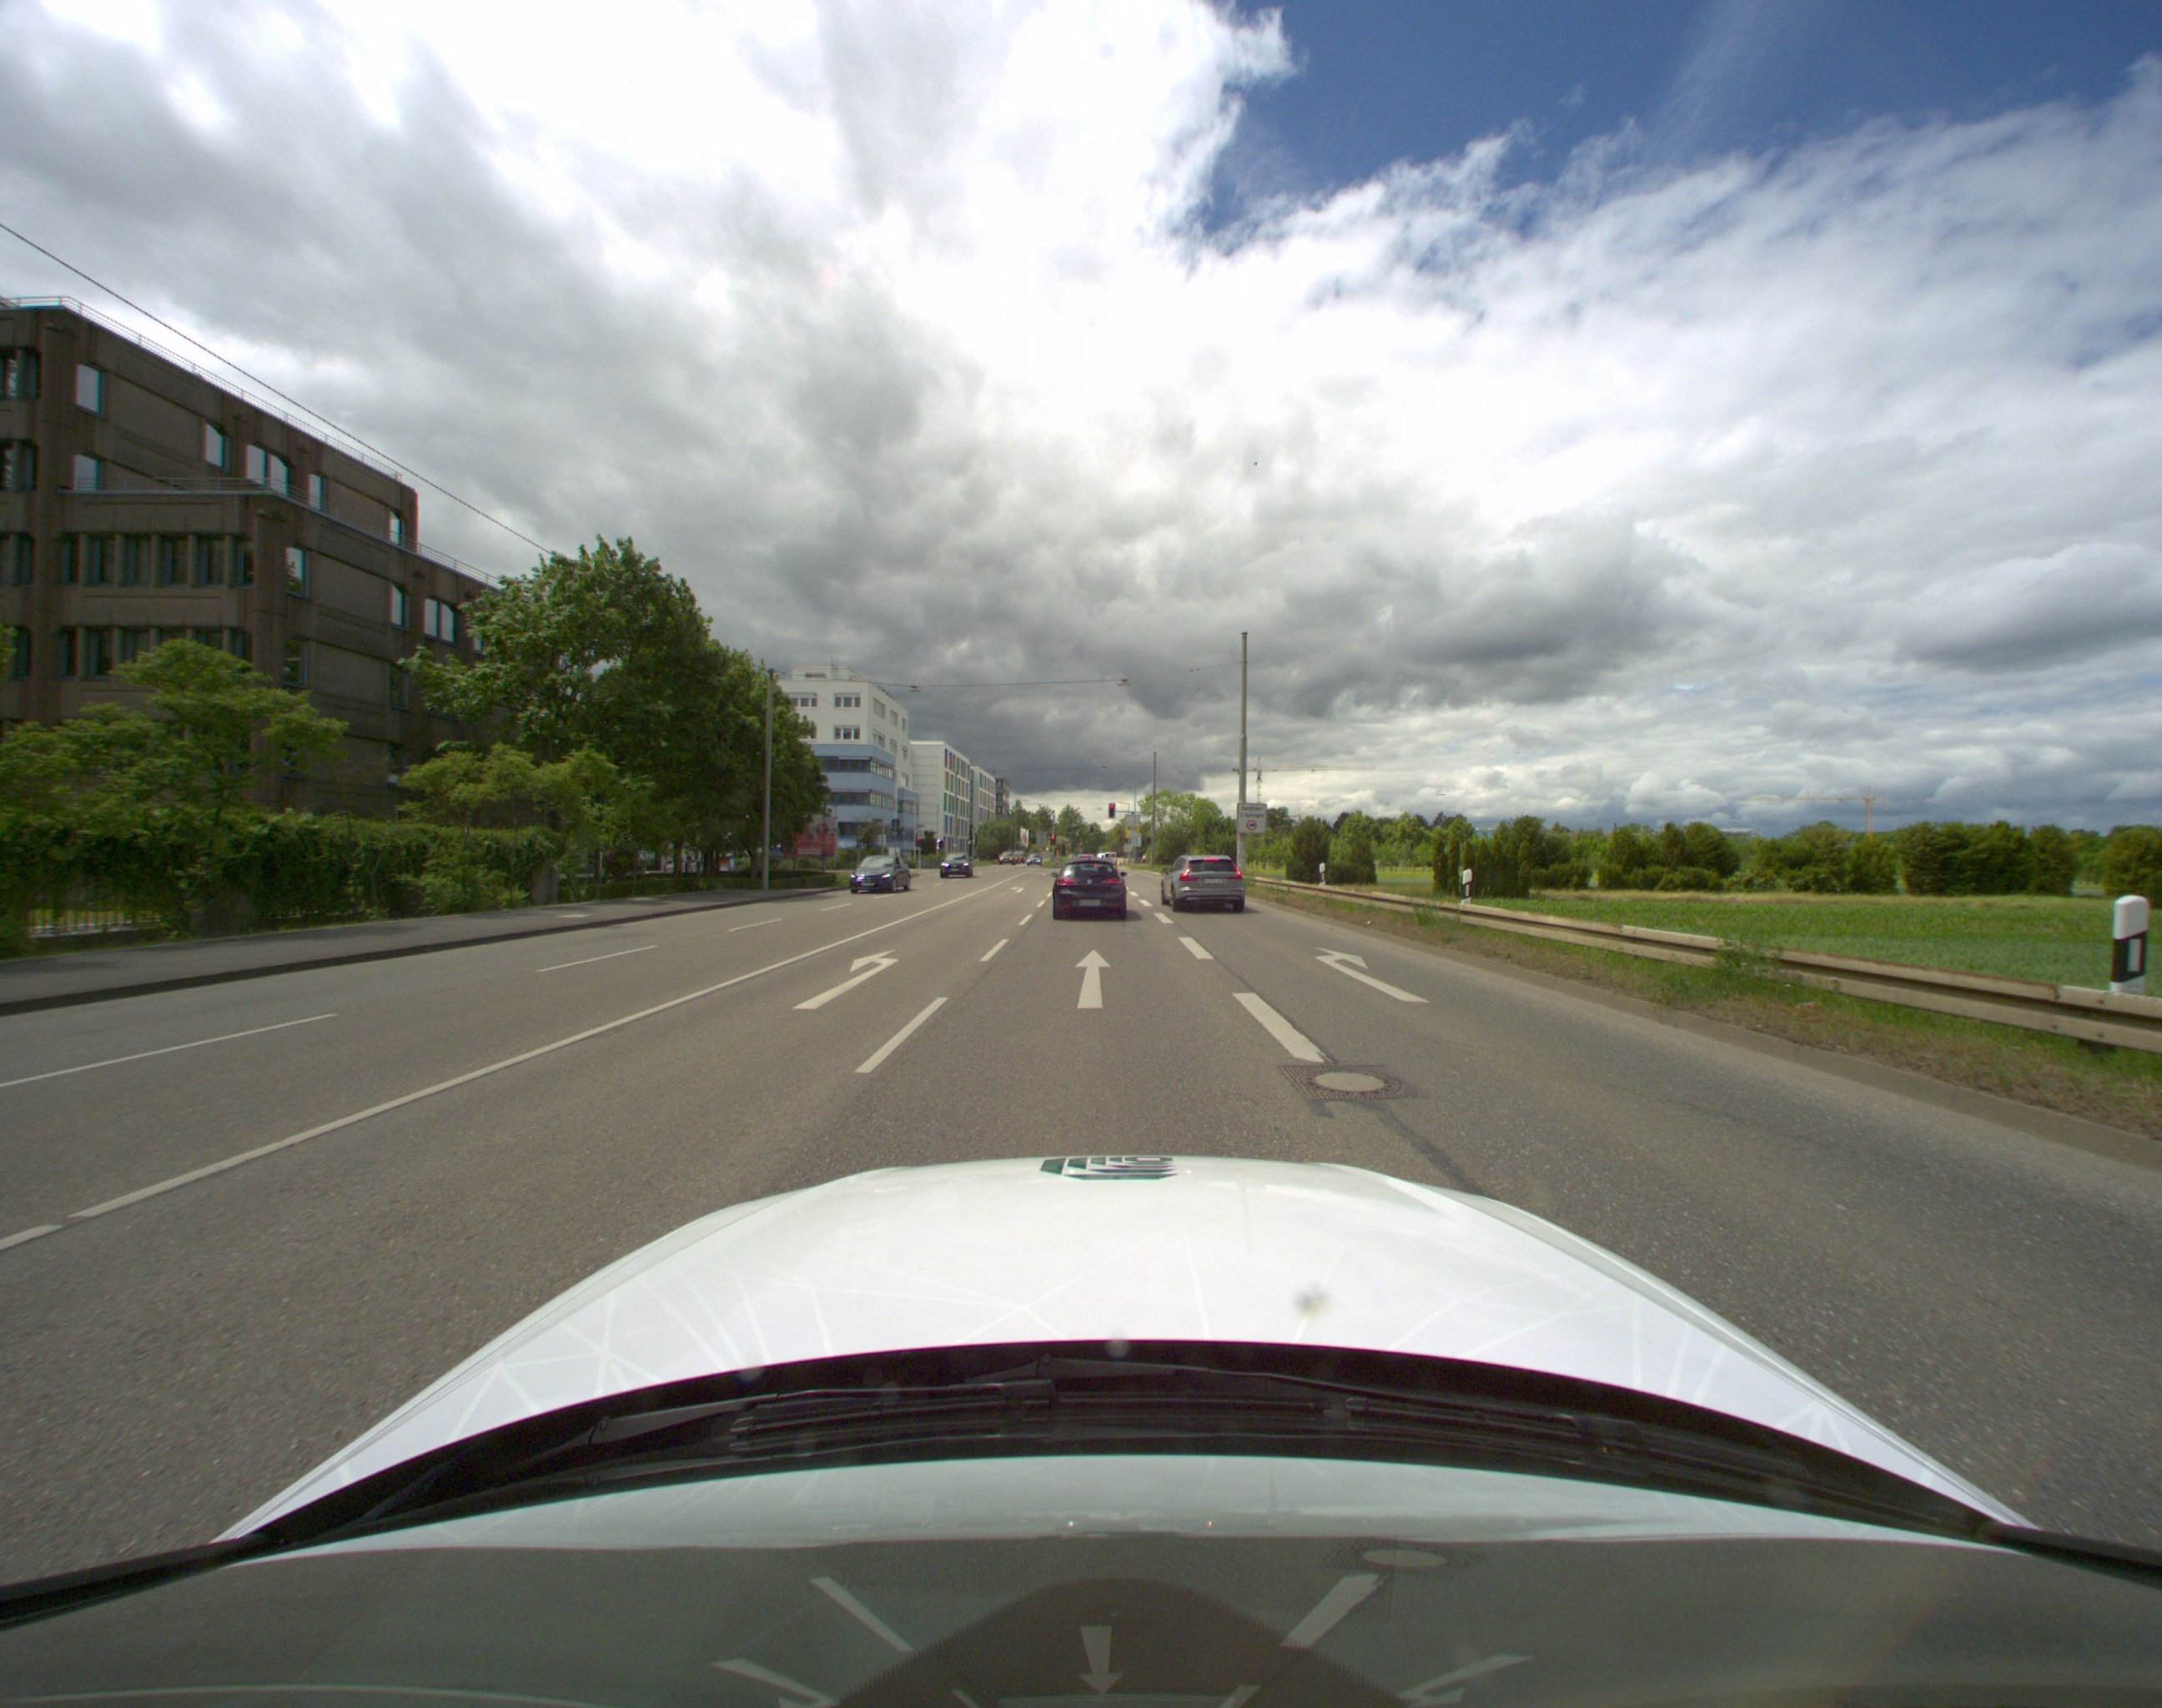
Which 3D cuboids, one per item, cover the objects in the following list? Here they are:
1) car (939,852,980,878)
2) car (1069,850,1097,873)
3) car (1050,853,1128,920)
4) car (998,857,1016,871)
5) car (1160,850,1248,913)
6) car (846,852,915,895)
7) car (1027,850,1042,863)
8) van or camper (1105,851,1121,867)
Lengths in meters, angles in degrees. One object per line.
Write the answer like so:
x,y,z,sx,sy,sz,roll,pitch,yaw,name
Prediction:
-7.890,0.696,53.163,1.861,1.615,4.572,0,-1,1,car
0.090,0.527,61.146,1.978,1.590,4.224,1,1,-1,car
0.275,0.744,20.261,1.740,1.484,4.003,0,-1,3,car
-9.063,1.261,100.077,1.746,1.631,3.999,-1,0,-1,car
3.259,0.710,22.397,1.950,1.525,4.343,-1,-1,3,car
-8.453,0.800,34.674,1.791,1.585,4.312,-3,-1,0,car
-5.632,0.274,98.811,1.663,1.524,4.007,-2,1,-1,car
4.355,0.708,111.501,1.894,1.926,3.995,1,-3,-2,van or camper
